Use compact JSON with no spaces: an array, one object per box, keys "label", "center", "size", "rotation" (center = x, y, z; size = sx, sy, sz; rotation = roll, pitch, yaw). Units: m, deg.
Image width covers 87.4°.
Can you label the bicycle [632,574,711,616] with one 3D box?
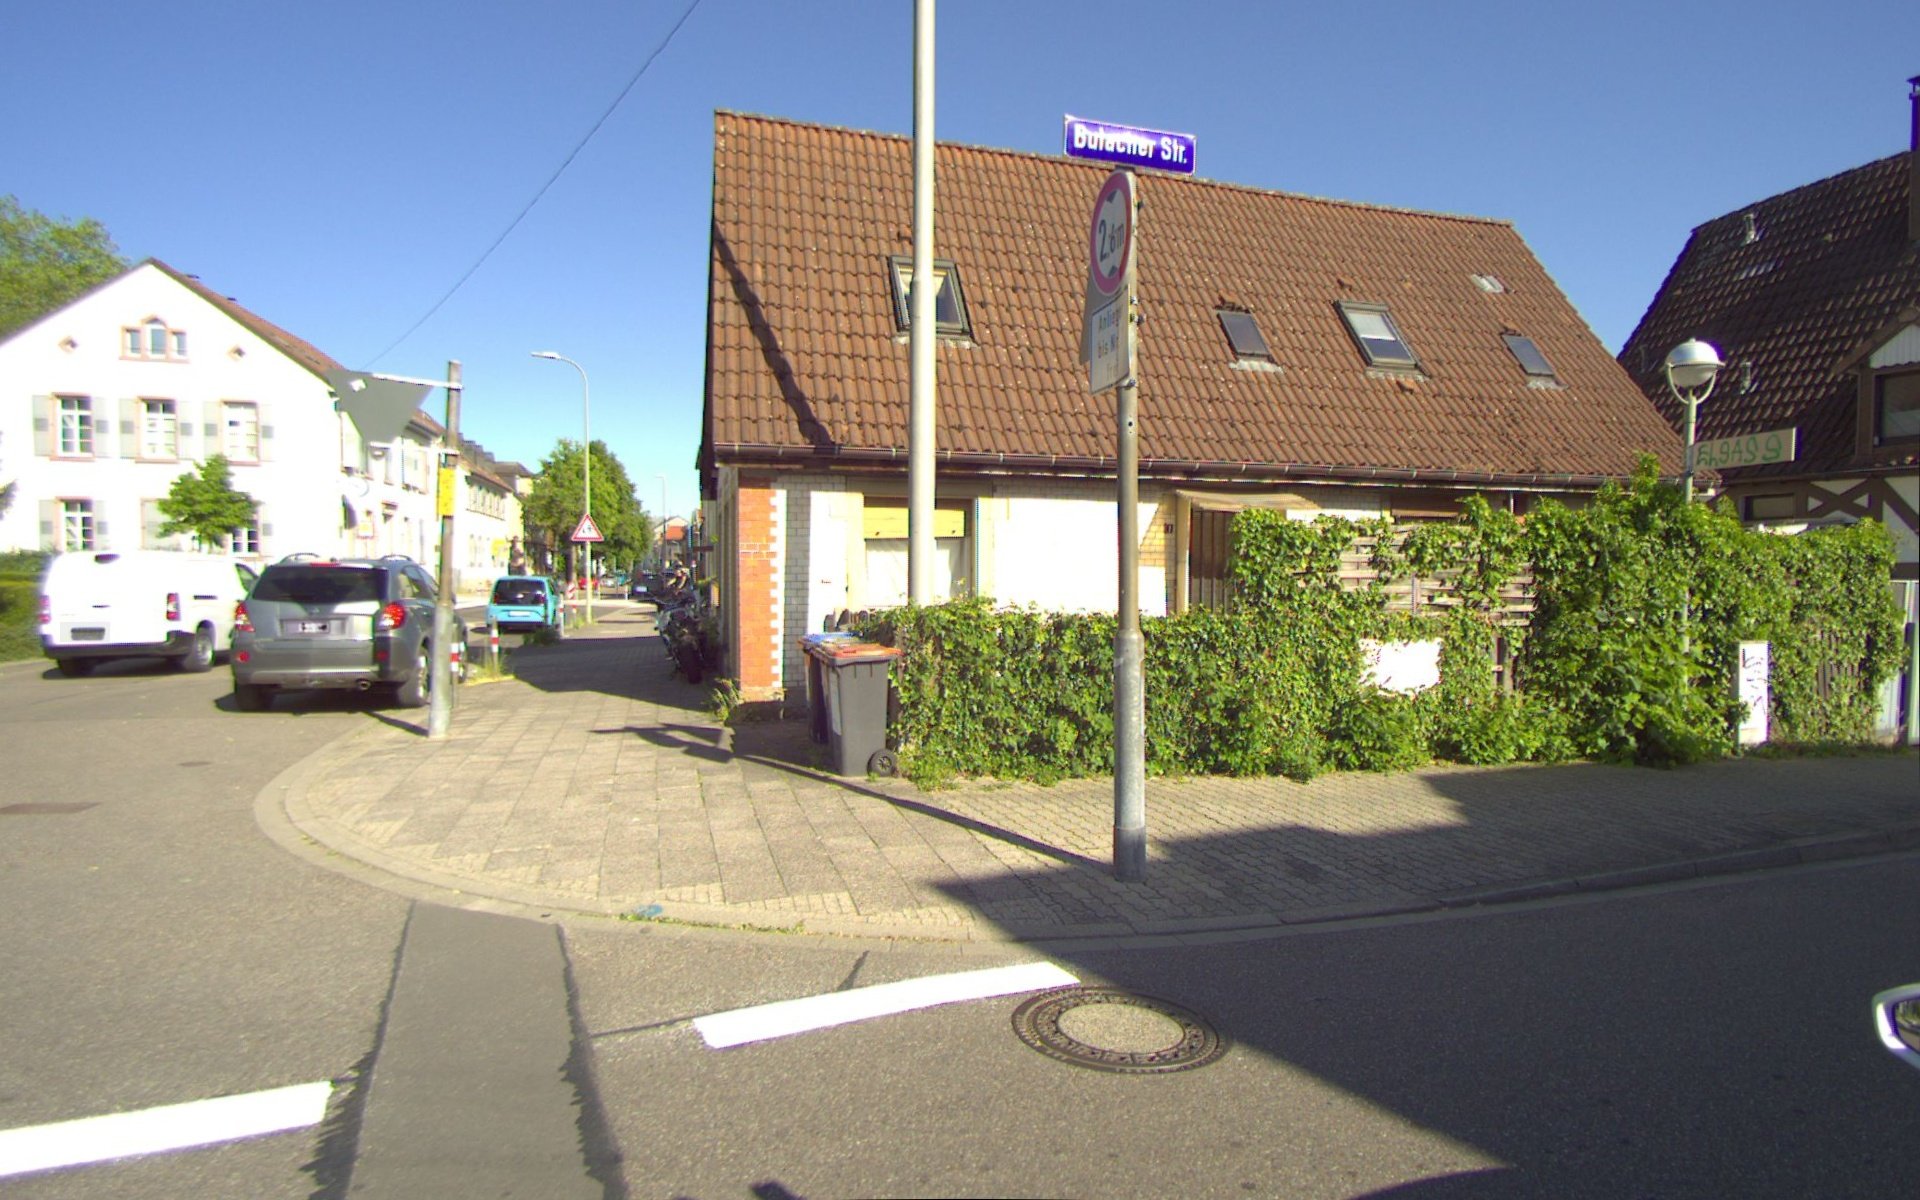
[{"label":"bicycle","center":[-9.210,-0.179,32.108],"size":[2.279,1.293,0.891],"rotation":[-1,2,-41]}]

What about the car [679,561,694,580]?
[{"label":"car","center":[-36.917,-3.920,135.416],"size":[1.967,2.508,4.712],"rotation":[0,2,-16]}]

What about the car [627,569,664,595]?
[{"label":"car","center":[-21.473,-1.235,68.698],"size":[1.965,1.731,4.170],"rotation":[0,2,-12]}]

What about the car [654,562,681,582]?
[{"label":"car","center":[-26.368,-2.550,90.567],"size":[1.965,1.731,4.170],"rotation":[0,2,-12]}]

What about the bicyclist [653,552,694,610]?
[{"label":"bicyclist","center":[-9.165,-0.608,32.117],"size":[0.989,1.799,0.891],"rotation":[-1,3,-41]}]

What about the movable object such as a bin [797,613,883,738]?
[{"label":"movable object such as a bin","center":[-0.957,0.581,7.951],"size":[0.615,0.937,0.410],"rotation":[0,2,-18]}]

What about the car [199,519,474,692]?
[{"label":"car","center":[-7.422,0.000,12.469],"size":[1.915,1.748,4.217],"rotation":[1,2,-18]}]

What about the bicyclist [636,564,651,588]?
[{"label":"bicyclist","center":[-25.735,-1.942,81.725],"size":[1.050,1.864,1.208],"rotation":[1,1,-12]}]

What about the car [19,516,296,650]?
[{"label":"car","center":[-12.804,-0.295,16.451],"size":[1.932,1.873,4.543],"rotation":[-1,2,-17]}]

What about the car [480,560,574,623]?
[{"label":"car","center":[-11.606,-0.278,27.167],"size":[1.915,1.570,4.217],"rotation":[0,2,-18]}]

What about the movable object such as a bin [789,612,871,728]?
[{"label":"movable object such as a bin","center":[-1.085,0.566,8.359],"size":[0.615,0.918,0.412],"rotation":[0,2,-18]}]

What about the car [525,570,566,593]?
[{"label":"car","center":[-28.179,-1.274,68.364],"size":[1.966,1.484,3.988],"rotation":[0,2,-14]}]

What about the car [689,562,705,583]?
[{"label":"car","center":[-37.642,-3.996,143.853],"size":[1.794,2.939,4.640],"rotation":[0,2,-21]}]

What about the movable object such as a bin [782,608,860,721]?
[{"label":"movable object such as a bin","center":[-1.227,0.550,8.824],"size":[0.615,0.937,0.507],"rotation":[0,2,-17]}]

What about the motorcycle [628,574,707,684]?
[{"label":"motorcycle","center":[-3.902,0.331,13.416],"size":[0.868,1.313,2.241],"rotation":[-3,2,-16]}]

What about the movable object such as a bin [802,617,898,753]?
[{"label":"movable object such as a bin","center":[-0.821,0.606,7.440],"size":[0.615,0.937,0.555],"rotation":[0,2,-17]}]
